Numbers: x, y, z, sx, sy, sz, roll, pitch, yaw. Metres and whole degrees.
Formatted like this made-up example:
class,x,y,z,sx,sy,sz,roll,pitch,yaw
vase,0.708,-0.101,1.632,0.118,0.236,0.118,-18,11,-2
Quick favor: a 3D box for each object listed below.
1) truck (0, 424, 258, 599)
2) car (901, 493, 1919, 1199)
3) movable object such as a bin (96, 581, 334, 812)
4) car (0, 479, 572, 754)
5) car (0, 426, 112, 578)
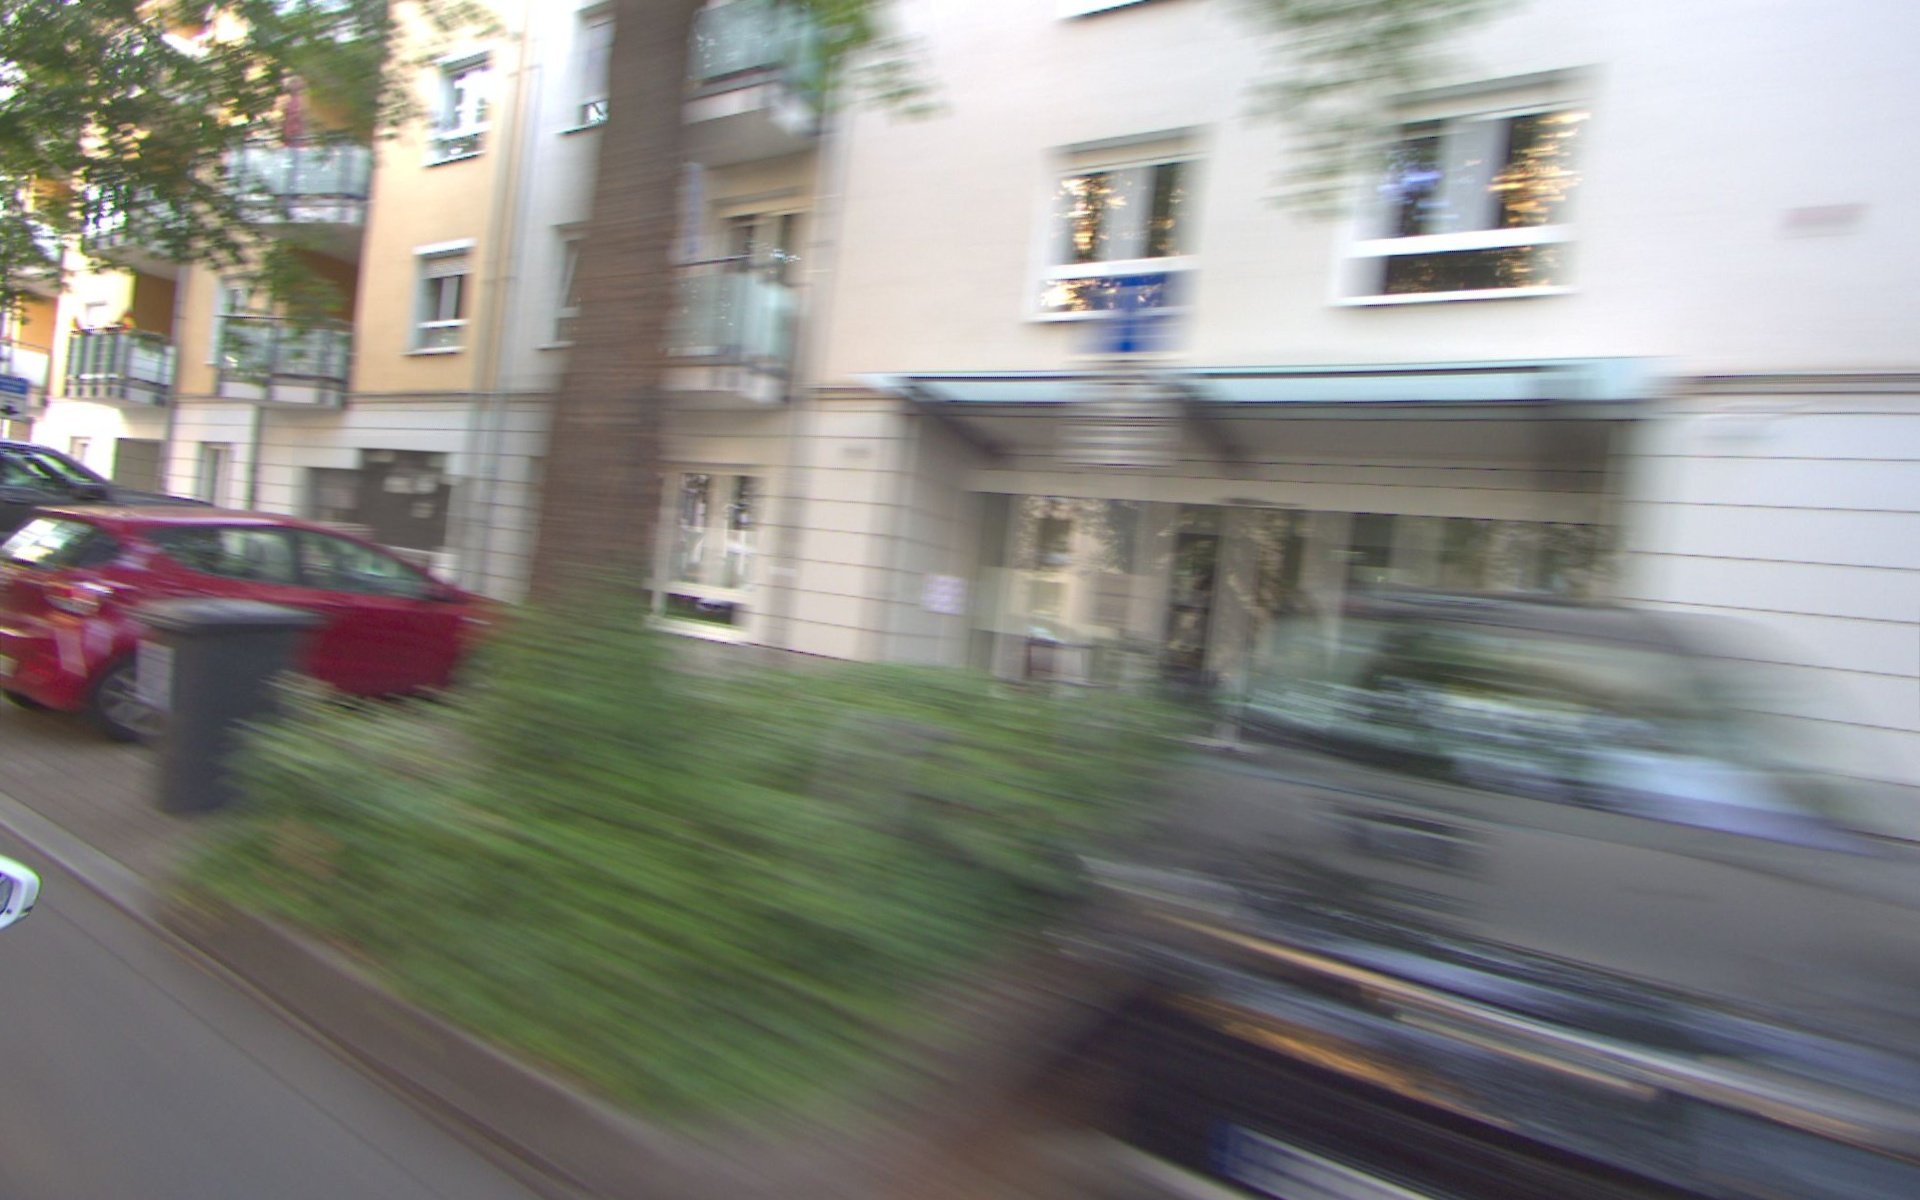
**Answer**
class,x,y,z,sx,sy,sz,roll,pitch,yaw
truck,-13.013,-1.221,13.049,2.223,2.162,6.001,7,3,32
car,1.788,0.790,3.507,1.863,1.726,4.387,7,2,29
movable object such as a bin,-3.959,0.495,5.376,0.579,1.081,0.775,7,0,31
car,-5.145,0.058,7.796,1.751,1.569,3.665,5,2,30
car,-15.296,-1.540,14.242,2.003,2.162,4.618,7,3,32
